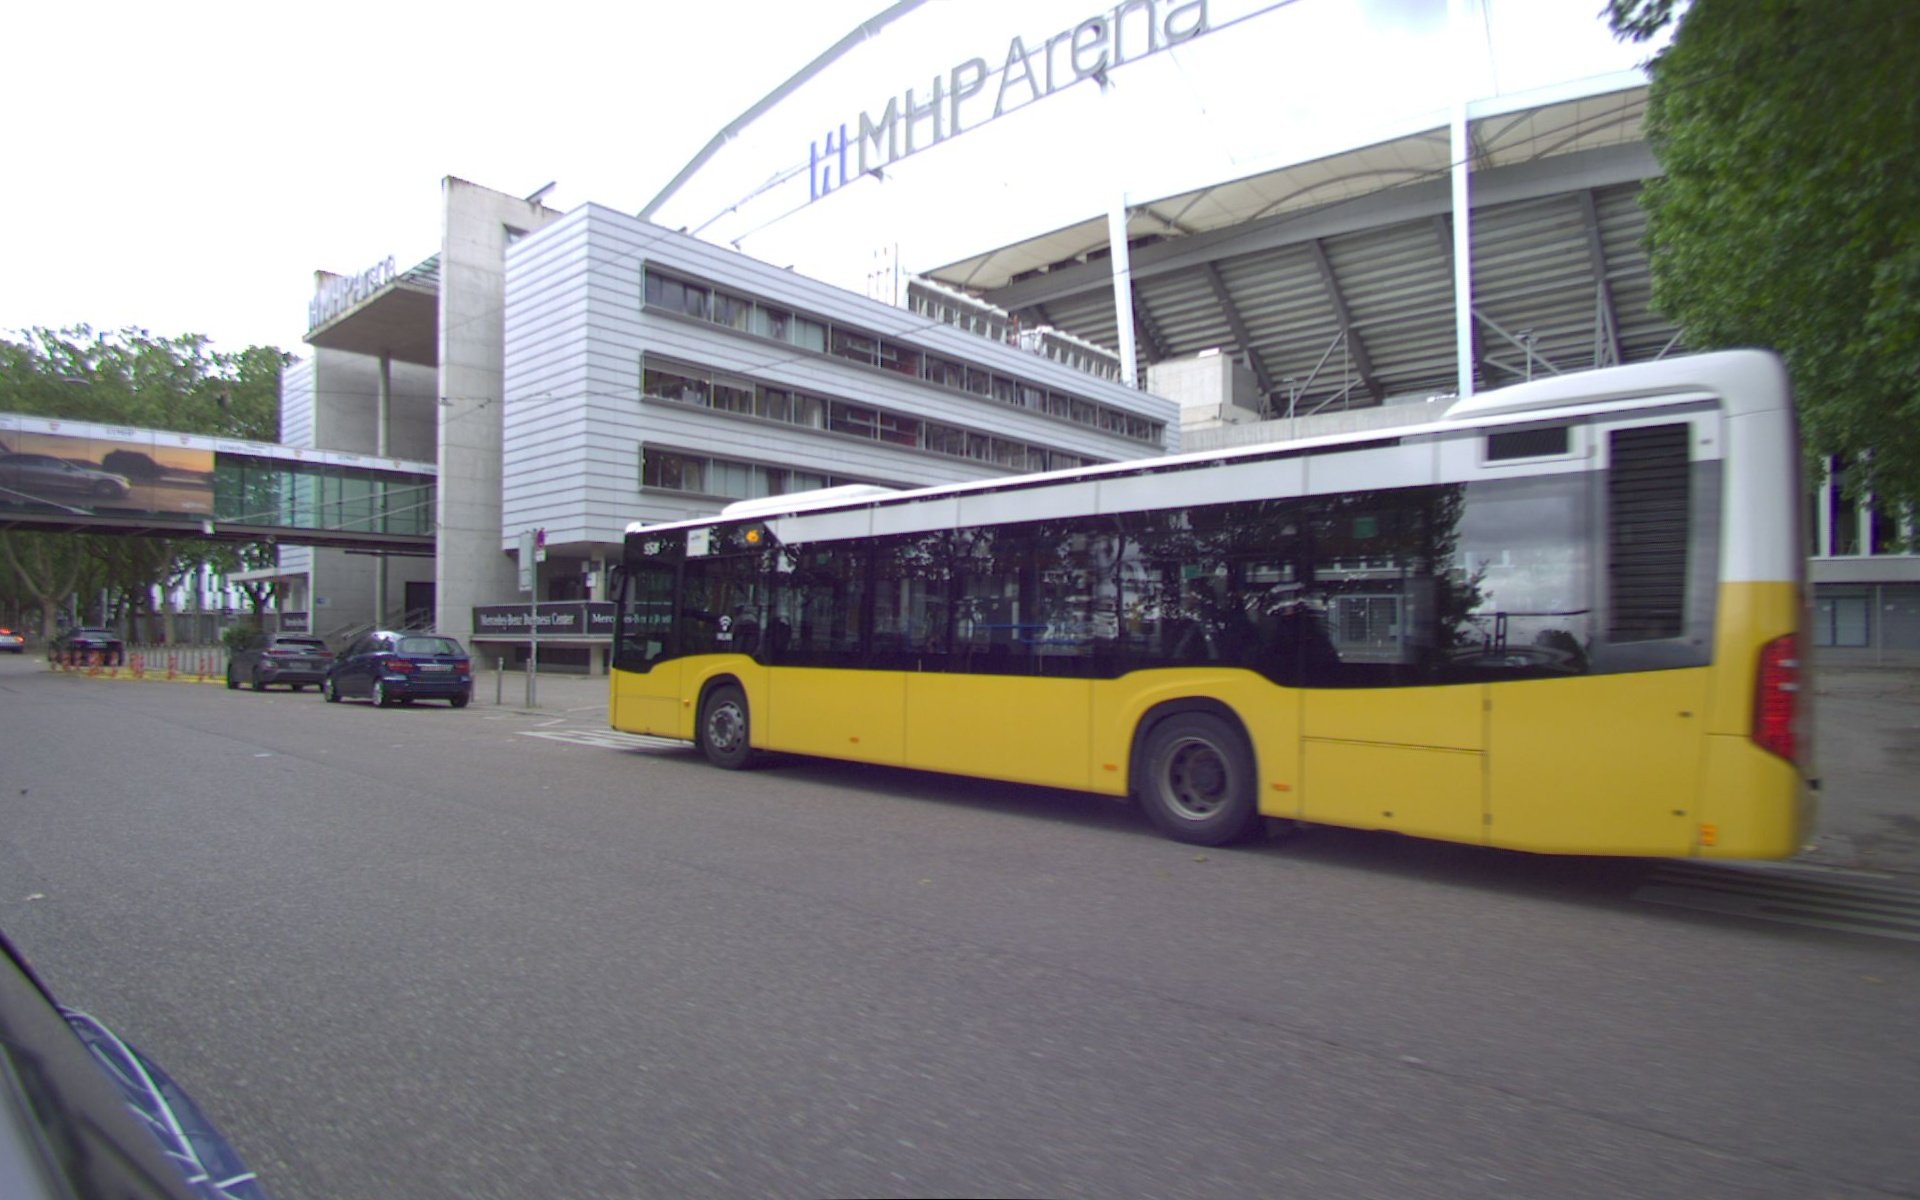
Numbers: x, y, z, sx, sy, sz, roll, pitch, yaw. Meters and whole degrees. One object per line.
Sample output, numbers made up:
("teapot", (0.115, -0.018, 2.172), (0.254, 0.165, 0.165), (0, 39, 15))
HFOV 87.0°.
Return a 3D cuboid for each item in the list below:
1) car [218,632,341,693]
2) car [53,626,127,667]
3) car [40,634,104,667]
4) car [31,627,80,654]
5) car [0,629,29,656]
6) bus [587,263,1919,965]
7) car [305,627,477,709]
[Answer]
("car", (-18.713, 1.695, 27.764), (4.007, 1.525, 1.735), (-1, -6, 41))
("car", (-40.134, 2.143, 46.655), (4.232, 1.744, 1.904), (-1, -6, 41))
("car", (-43.839, 2.471, 49.916), (4.143, 1.480, 1.758), (-1, -6, 41))
("car", (-54.259, 2.435, 60.696), (3.801, 1.480, 1.640), (-1, -6, 41))
("car", (-61.893, 2.752, 65.710), (3.998, 1.674, 1.735), (-1, -1, 42))
("bus", (0.701, 0.228, 9.744), (12.368, 3.179, 2.622), (-1, -5, 43))
("car", (-12.398, 1.448, 21.955), (4.384, 1.578, 1.736), (-1, -6, 40))
